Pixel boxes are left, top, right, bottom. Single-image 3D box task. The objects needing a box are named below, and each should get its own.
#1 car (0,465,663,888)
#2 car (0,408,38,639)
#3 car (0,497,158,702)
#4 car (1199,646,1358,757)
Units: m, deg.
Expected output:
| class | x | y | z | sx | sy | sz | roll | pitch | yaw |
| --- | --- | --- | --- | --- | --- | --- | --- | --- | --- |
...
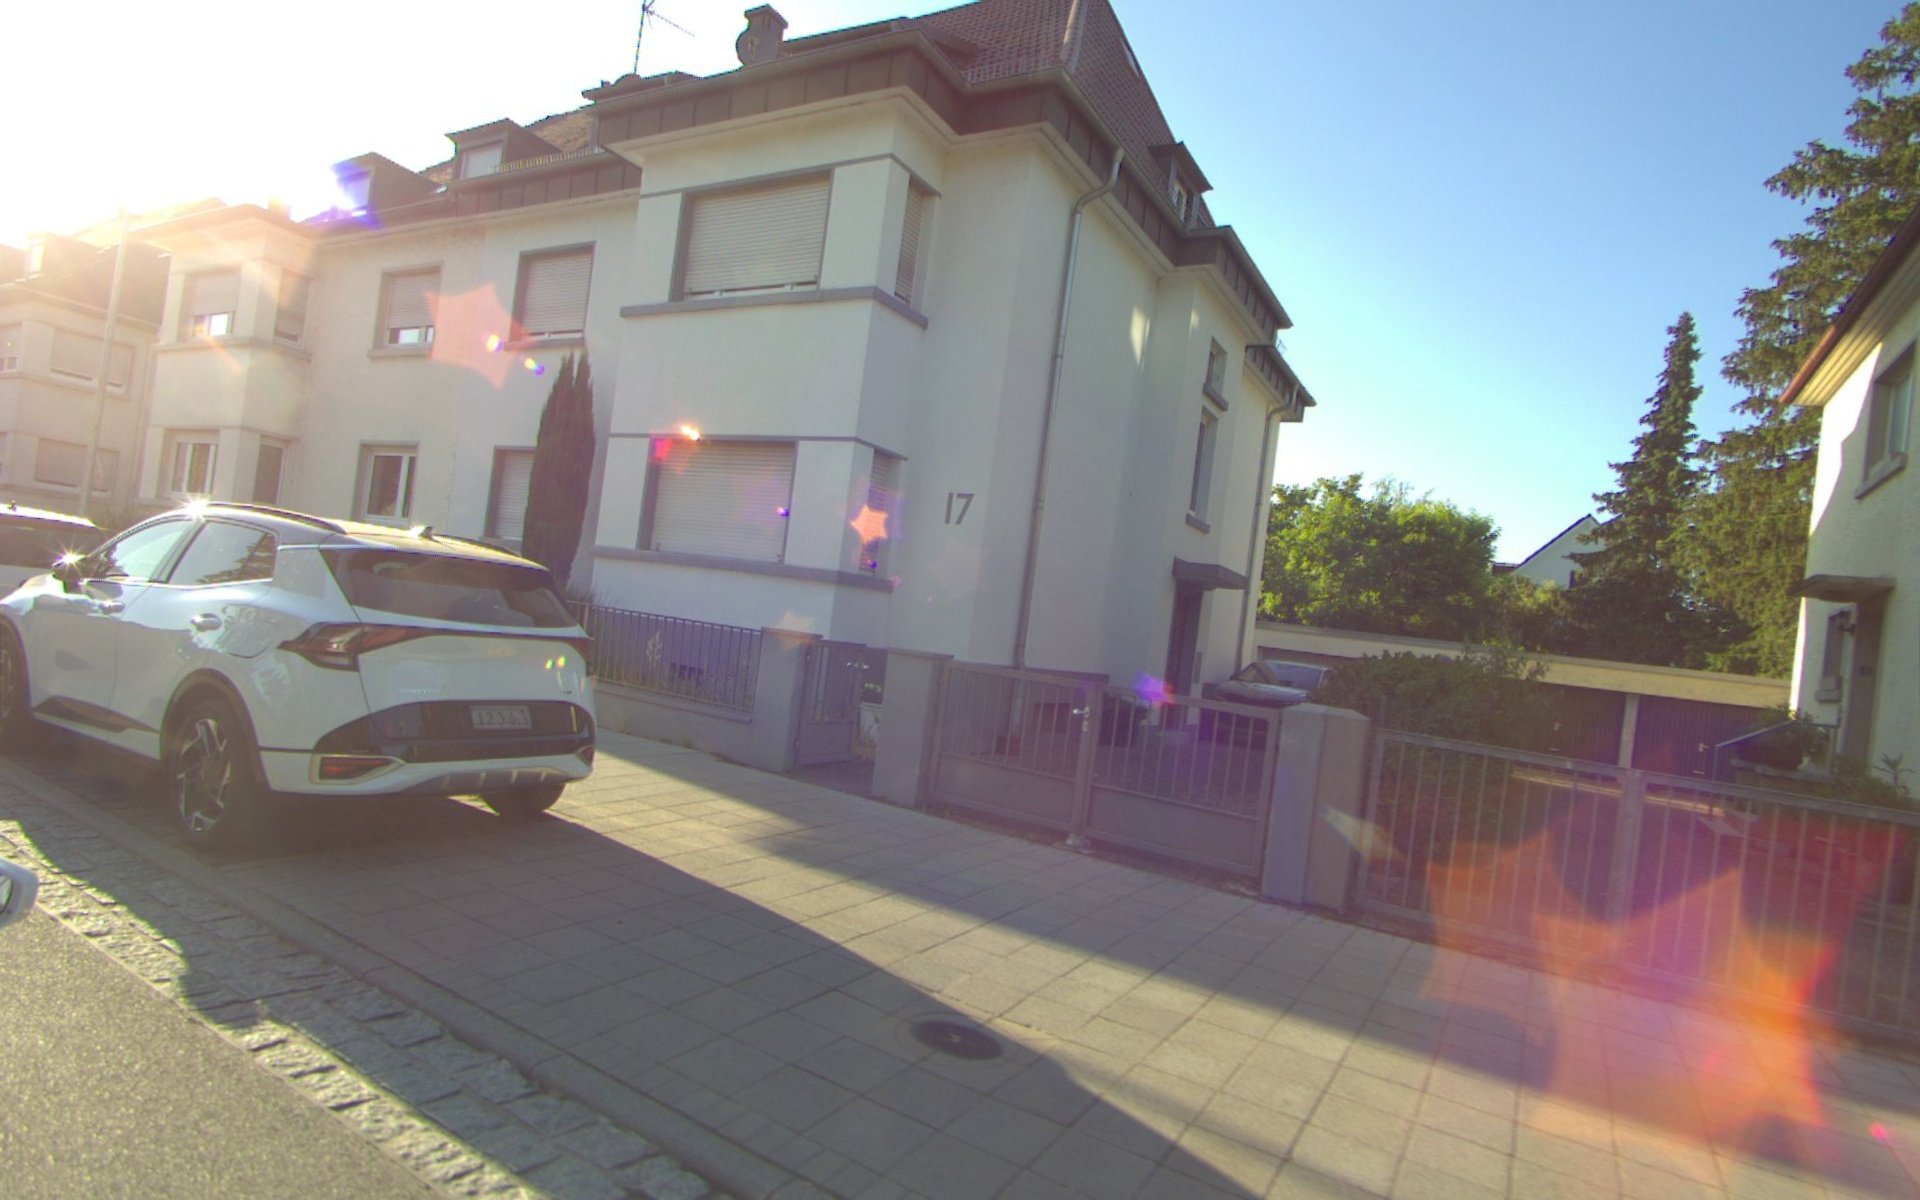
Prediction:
| class | x | y | z | sx | sy | sz | roll | pitch | yaw |
| --- | --- | --- | --- | --- | --- | --- | --- | --- | --- |
| car | -4.121 | 0.235 | 6.110 | 4.404 | 1.665 | 1.781 | 7 | 0 | 30 |
| car | -13.426 | -1.212 | 11.753 | 5.415 | 2.547 | 2.135 | 7 | -2 | 30 |
| car | -8.810 | -0.191 | 8.674 | 4.041 | 1.499 | 1.625 | 7 | -2 | 33 |
| car | 5.903 | 1.884 | 18.383 | 1.701 | 1.615 | 3.716 | 7 | -3 | 33 |
